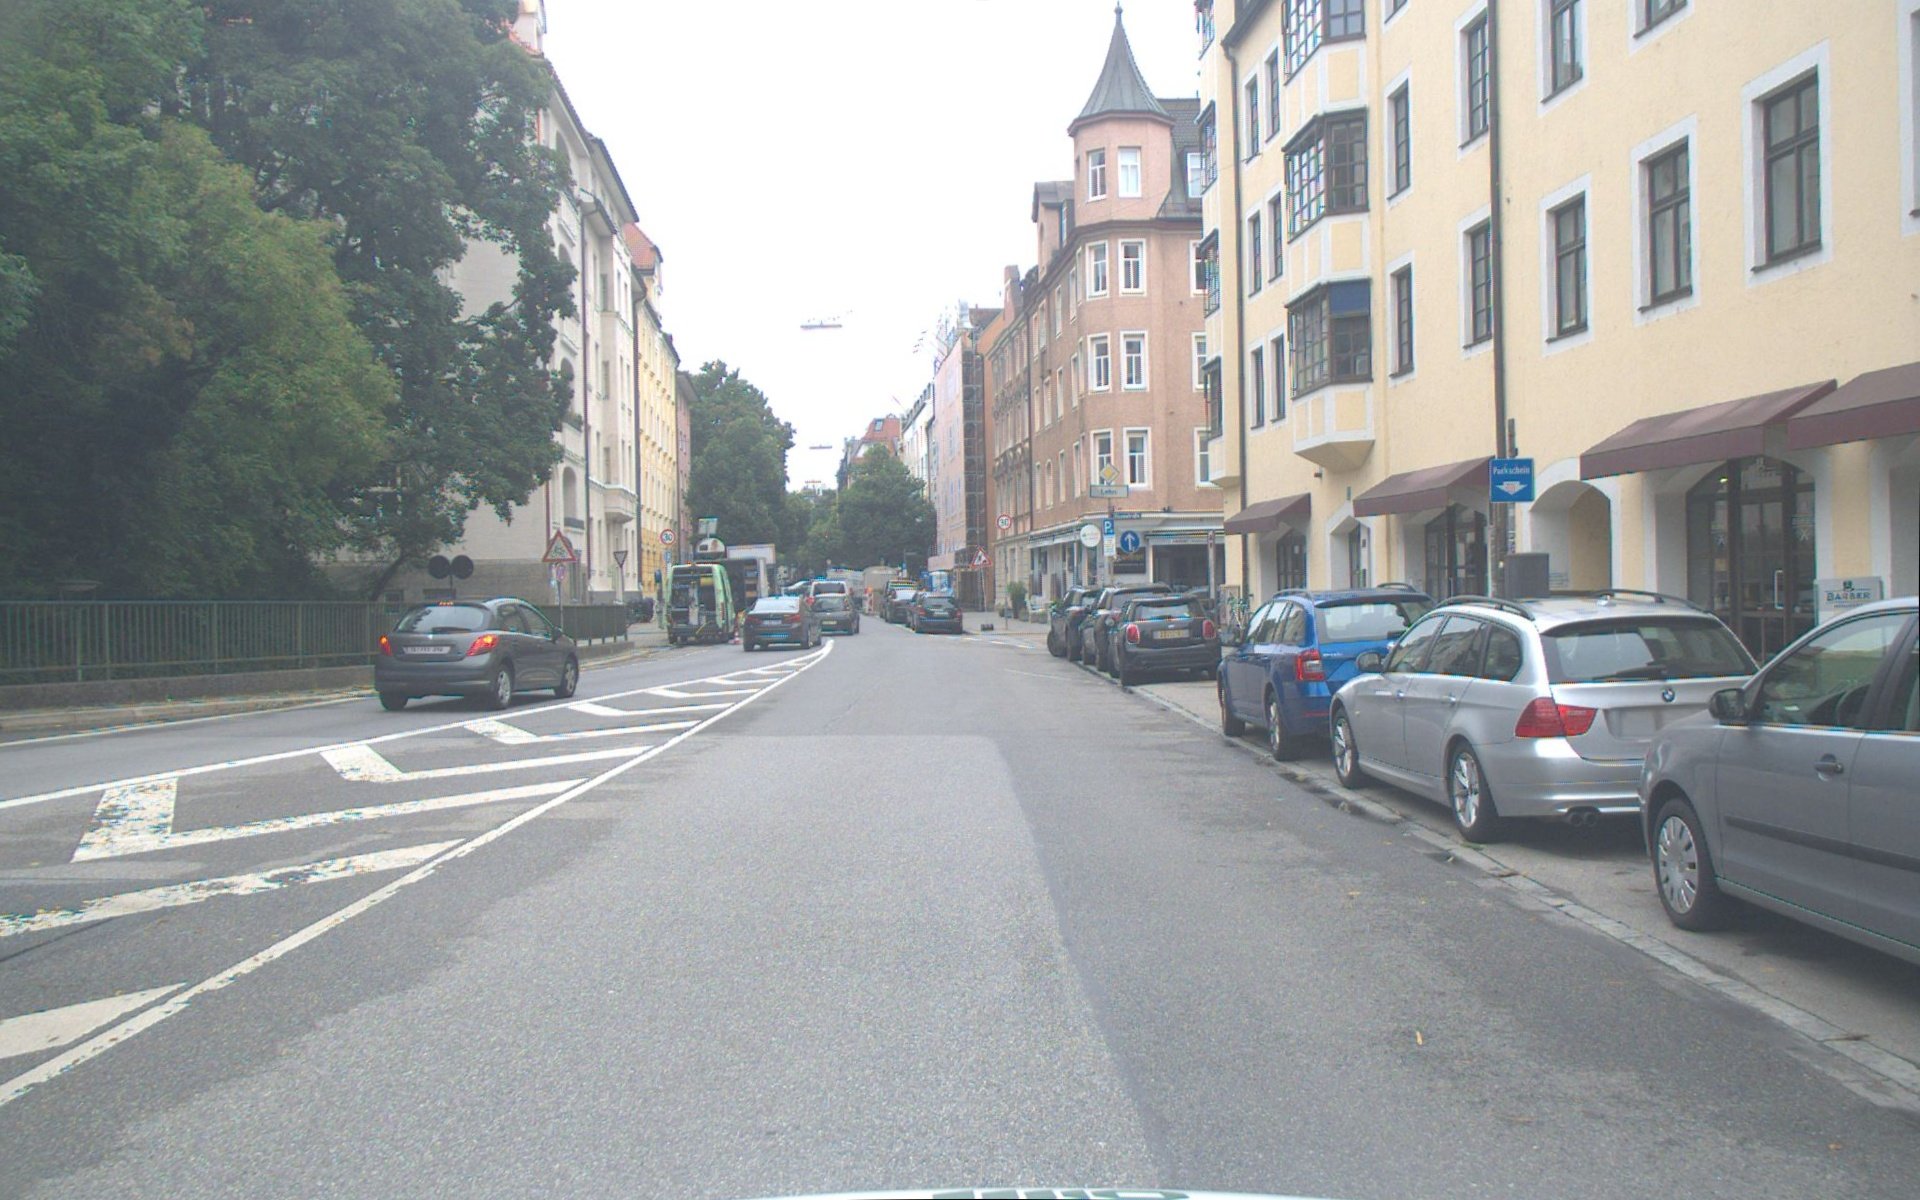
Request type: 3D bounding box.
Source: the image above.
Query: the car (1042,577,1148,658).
[{"bbox_3d":[3.090,0.373,38.749,1.783,1.708,4.507,-3,0,-4],"label":"car"}]

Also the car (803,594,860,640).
[{"bbox_3d":[-4.598,0.591,59.321,1.951,1.454,4.137,-1,1,-4],"label":"car"}]

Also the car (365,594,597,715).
[{"bbox_3d":[-6.601,0.697,23.251,1.721,1.486,4.077,-2,0,5],"label":"car"}]

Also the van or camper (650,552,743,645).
[{"bbox_3d":[-8.863,-0.123,56.109,2.549,2.889,6.181,-1,1,-4],"label":"van or camper"}]

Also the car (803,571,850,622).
[{"bbox_3d":[-5.872,-0.185,72.761,1.951,2.111,4.137,-1,1,-4],"label":"car"}]

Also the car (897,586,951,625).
[{"bbox_3d":[-1.501,0.203,67.676,1.809,1.454,4.135,2,1,-6],"label":"car"}]

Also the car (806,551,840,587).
[{"bbox_3d":[-8.372,-1.880,100.823,1.955,2.049,3.995,-2,1,-6],"label":"car"}]

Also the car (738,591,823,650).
[{"bbox_3d":[-5.005,0.537,46.800,1.950,1.454,4.905,-1,1,-1],"label":"car"}]

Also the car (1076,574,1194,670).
[{"bbox_3d":[3.442,0.391,33.329,1.721,1.708,4.705,-3,0,-1],"label":"car"}]

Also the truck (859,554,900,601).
[{"bbox_3d":[-5.405,-1.485,109.810,2.443,3.025,5.321,-1,0,-6],"label":"truck"}]

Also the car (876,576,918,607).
[{"bbox_3d":[-3.204,-0.438,83.979,1.951,1.454,4.137,-1,1,-4],"label":"car"}]

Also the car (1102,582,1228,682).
[{"bbox_3d":[3.446,0.487,28.428,1.720,1.522,3.824,-3,0,1],"label":"car"}]

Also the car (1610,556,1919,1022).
[{"bbox_3d":[3.951,0.601,5.994,1.595,1.522,3.786,-3,0,-1],"label":"car"}]

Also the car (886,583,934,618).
[{"bbox_3d":[-2.332,0.020,76.094,1.809,1.454,4.301,2,1,-6],"label":"car"}]

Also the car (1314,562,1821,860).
[{"bbox_3d":[3.753,0.578,11.130,1.656,1.522,4.433,-3,0,-1],"label":"car"}]

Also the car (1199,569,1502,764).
[{"bbox_3d":[3.548,0.531,15.897,1.721,1.522,4.486,-3,0,-1],"label":"car"}]

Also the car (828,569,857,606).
[{"bbox_3d":[-8.103,-0.867,114.117,1.901,2.523,4.779,-1,0,-3],"label":"car"}]

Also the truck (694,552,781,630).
[{"bbox_3d":[-8.868,-0.437,66.675,2.717,2.923,7.200,-1,1,-2],"label":"truck"}]

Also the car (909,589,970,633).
[{"bbox_3d":[-0.798,0.380,61.528,1.809,1.454,4.178,2,1,-6],"label":"car"}]

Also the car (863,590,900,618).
[{"bbox_3d":[-4.470,0.217,93.733,1.951,1.454,4.137,-1,1,-4],"label":"car"}]

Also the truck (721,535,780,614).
[{"bbox_3d":[-11.268,-1.356,89.455,2.955,4.020,6.986,-1,0,-6],"label":"truck"}]
